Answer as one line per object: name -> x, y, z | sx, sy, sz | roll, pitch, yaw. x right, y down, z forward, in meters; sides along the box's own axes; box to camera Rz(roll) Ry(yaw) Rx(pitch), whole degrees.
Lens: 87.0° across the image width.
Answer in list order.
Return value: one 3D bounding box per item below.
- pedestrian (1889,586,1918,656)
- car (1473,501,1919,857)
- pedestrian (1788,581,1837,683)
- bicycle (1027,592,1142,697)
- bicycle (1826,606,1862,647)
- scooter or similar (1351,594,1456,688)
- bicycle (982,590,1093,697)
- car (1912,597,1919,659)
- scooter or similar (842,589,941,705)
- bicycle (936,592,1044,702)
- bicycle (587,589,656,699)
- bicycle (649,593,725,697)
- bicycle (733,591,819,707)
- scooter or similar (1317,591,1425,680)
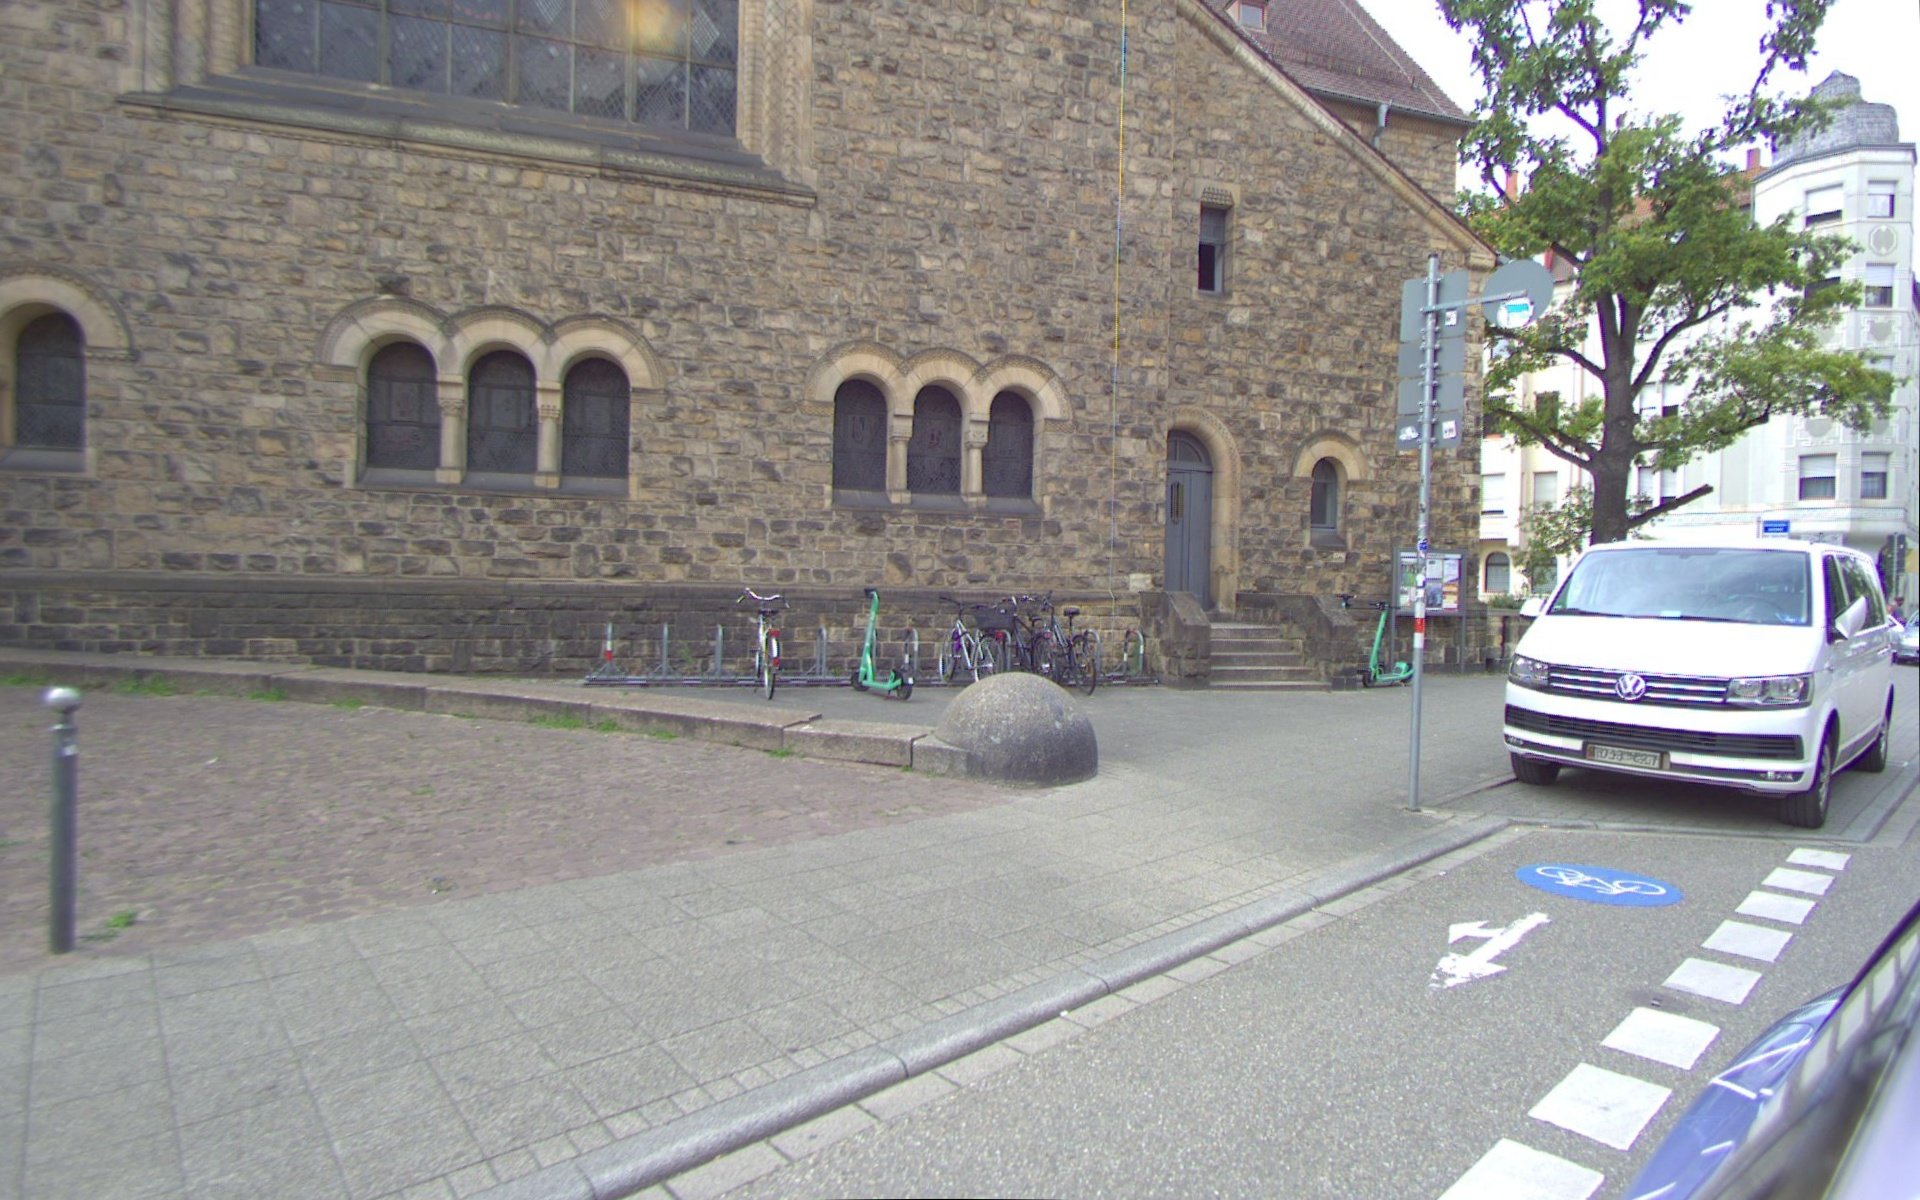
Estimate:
pedestrian -> 24.199, 0.536, 25.967 | 0.403, 1.757, 0.468 | 1, 1, -42
car -> 6.253, 0.388, 8.303 | 5.037, 2.054, 2.017 | -1, 3, -43
pedestrian -> 14.981, 0.549, 17.793 | 0.504, 1.741, 0.527 | 1, 0, 26
bicycle -> 1.457, 0.490, 12.192 | 0.534, 1.125, 1.786 | 1, 1, -23
bicycle -> 25.479, 0.756, 29.157 | 1.943, 1.119, 0.523 | 1, 0, -41
scooter or similar -> 6.111, 0.545, 13.928 | 1.413, 1.222, 0.547 | 1, 1, -29
bicycle -> 0.875, 0.467, 11.933 | 0.534, 1.125, 1.779 | 1, 1, -23
car -> 25.069, 0.717, 25.160 | 4.344, 1.487, 1.757 | 1, 1, -43
scooter or similar -> -0.805, 0.483, 11.347 | 0.534, 1.154, 1.786 | 1, 1, -23
bicycle -> 0.308, 0.500, 11.721 | 0.534, 1.125, 1.786 | 1, 1, -23
bicycle -> -3.583, 0.422, 10.642 | 0.534, 0.969, 1.787 | 1, 3, -23
bicycle -> -2.952, 0.441, 10.844 | 0.534, 0.969, 1.786 | 1, 1, -23
bicycle -> -2.045, 0.487, 11.078 | 0.534, 1.125, 1.786 | 1, 1, -23
scooter or similar -> 5.925, 0.508, 14.587 | 1.450, 1.222, 0.547 | 1, 1, -22
